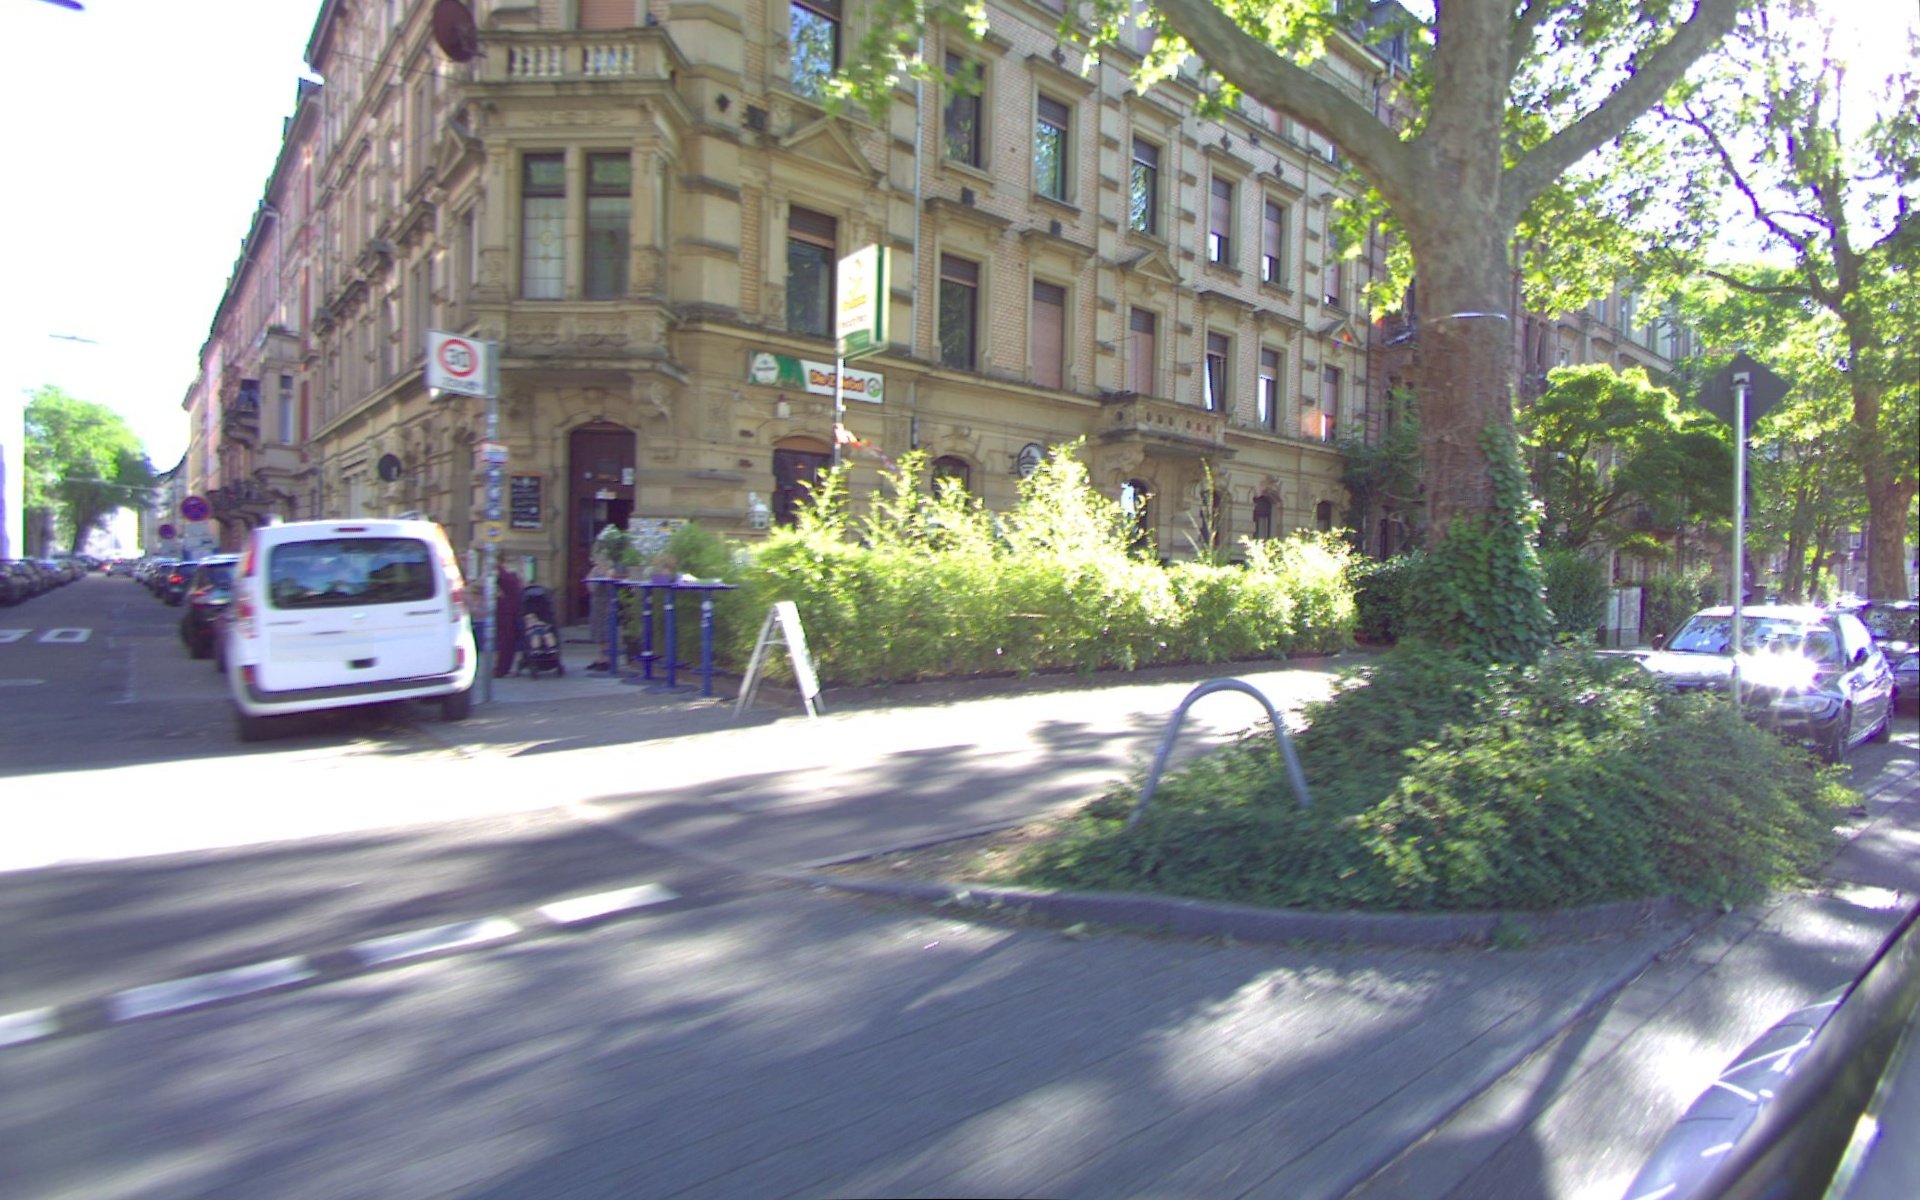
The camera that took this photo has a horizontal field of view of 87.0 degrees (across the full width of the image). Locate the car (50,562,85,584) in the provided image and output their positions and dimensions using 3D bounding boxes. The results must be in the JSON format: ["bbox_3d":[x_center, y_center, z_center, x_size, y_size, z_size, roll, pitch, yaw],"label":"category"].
[{"bbox_3d":[-64.361,-1.932,73.009,1.722,1.568,3.800,-1,2,-39],"label":"car"}]

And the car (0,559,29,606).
[{"bbox_3d":[-29.824,-0.546,30.938,1.722,1.380,3.800,-1,2,-39],"label":"car"}]

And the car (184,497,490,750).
[{"bbox_3d":[-6.213,0.109,9.819,1.874,1.869,4.557,-1,2,-40],"label":"car"}]

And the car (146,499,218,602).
[{"bbox_3d":[-30.812,-1.904,40.013,1.985,3.798,5.517,-1,2,-40],"label":"car"}]

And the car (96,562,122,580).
[{"bbox_3d":[-75.534,-2.557,89.856,1.722,1.568,3.800,-1,2,-39],"label":"car"}]

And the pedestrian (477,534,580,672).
[{"bbox_3d":[-5.280,0.036,12.381,0.885,1.611,0.862,-2,-1,43],"label":"pedestrian"}]

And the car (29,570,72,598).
[{"bbox_3d":[-54.001,-0.983,60.136,1.722,1.568,3.800,-1,2,-39],"label":"car"}]

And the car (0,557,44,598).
[{"bbox_3d":[-37.941,-0.925,40.456,1.722,1.568,3.800,-1,2,-39],"label":"car"}]

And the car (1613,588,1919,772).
[{"bbox_3d":[8.457,0.630,10.378,4.489,1.411,1.680,-1,3,-40],"label":"car"}]

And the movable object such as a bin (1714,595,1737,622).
[{"bbox_3d":[26.428,0.297,34.923,0.601,0.910,0.708,-2,-1,39],"label":"movable object such as a bin"}]

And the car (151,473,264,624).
[{"bbox_3d":[-18.125,-1.172,24.281,1.874,3.241,4.884,-1,2,-40],"label":"car"}]

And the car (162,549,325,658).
[{"bbox_3d":[-12.032,-0.014,16.895,1.874,1.581,4.178,-1,2,-40],"label":"car"}]

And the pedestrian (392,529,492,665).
[{"bbox_3d":[-6.907,-0.034,13.491,1.067,1.718,0.862,-2,-1,43],"label":"pedestrian"}]

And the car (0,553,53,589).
[{"bbox_3d":[-41.446,-1.282,44.807,1.722,1.568,3.800,-1,2,-39],"label":"car"}]

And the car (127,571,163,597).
[{"bbox_3d":[-51.367,-1.029,63.776,1.722,1.568,3.800,-1,2,-39],"label":"car"}]

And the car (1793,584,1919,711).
[{"bbox_3d":[13.630,0.573,14.527,4.639,1.535,1.680,-1,3,-39],"label":"car"}]

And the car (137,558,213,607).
[{"bbox_3d":[-26.920,-0.613,34.647,1.874,1.581,4.178,-1,2,-40],"label":"car"}]

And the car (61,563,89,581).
[{"bbox_3d":[-78.772,-2.489,90.087,1.722,1.568,3.800,-1,2,-39],"label":"car"}]

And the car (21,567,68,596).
[{"bbox_3d":[-51.444,-1.044,56.935,1.722,1.568,3.800,-1,2,-39],"label":"car"}]
